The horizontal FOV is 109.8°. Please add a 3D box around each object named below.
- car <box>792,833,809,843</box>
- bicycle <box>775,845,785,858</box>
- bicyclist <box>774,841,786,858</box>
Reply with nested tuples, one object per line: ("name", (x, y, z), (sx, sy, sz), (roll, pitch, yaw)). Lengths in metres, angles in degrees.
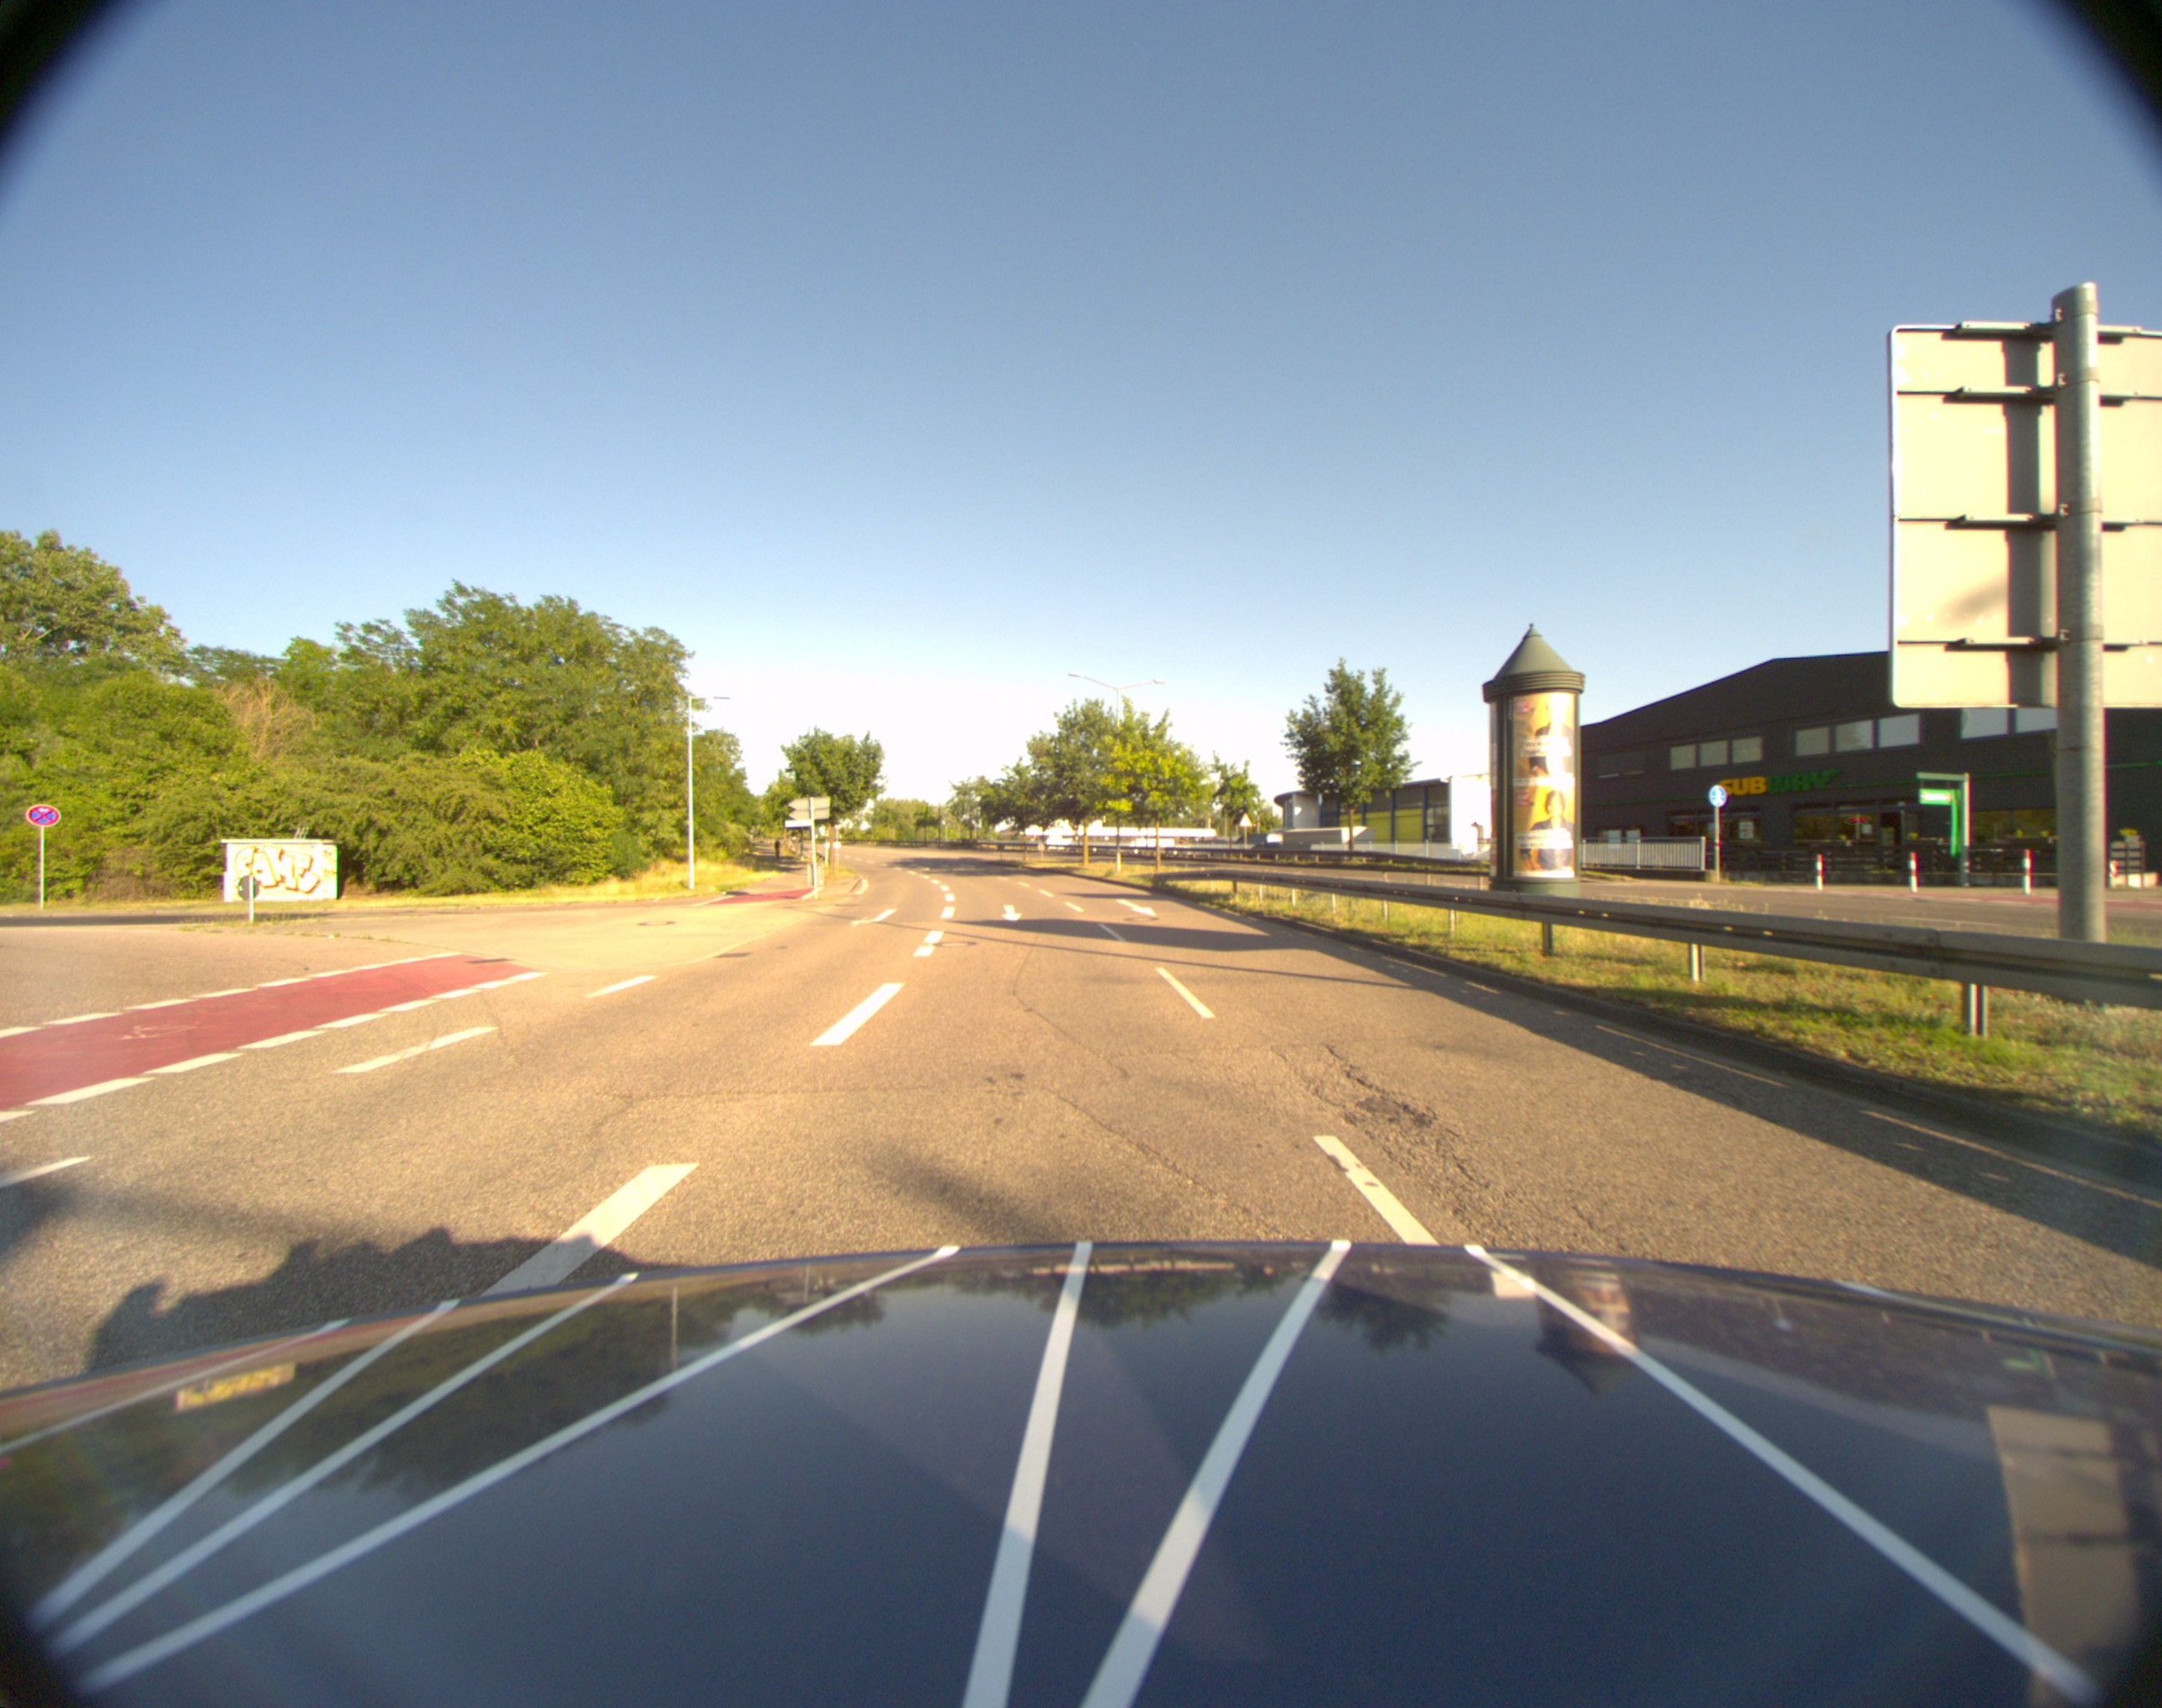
("car", (-49.789, -2.820, 134.743), (2.003, 1.762, 3.991), (-3, 1, -30))
("bicycle", (-26.361, -0.222, 66.551), (0.783, 1.051, 2.492), (-3, 1, -21))
("bicyclist", (-26.442, -0.397, 66.717), (0.844, 1.413, 1.112), (-3, 1, -20))
